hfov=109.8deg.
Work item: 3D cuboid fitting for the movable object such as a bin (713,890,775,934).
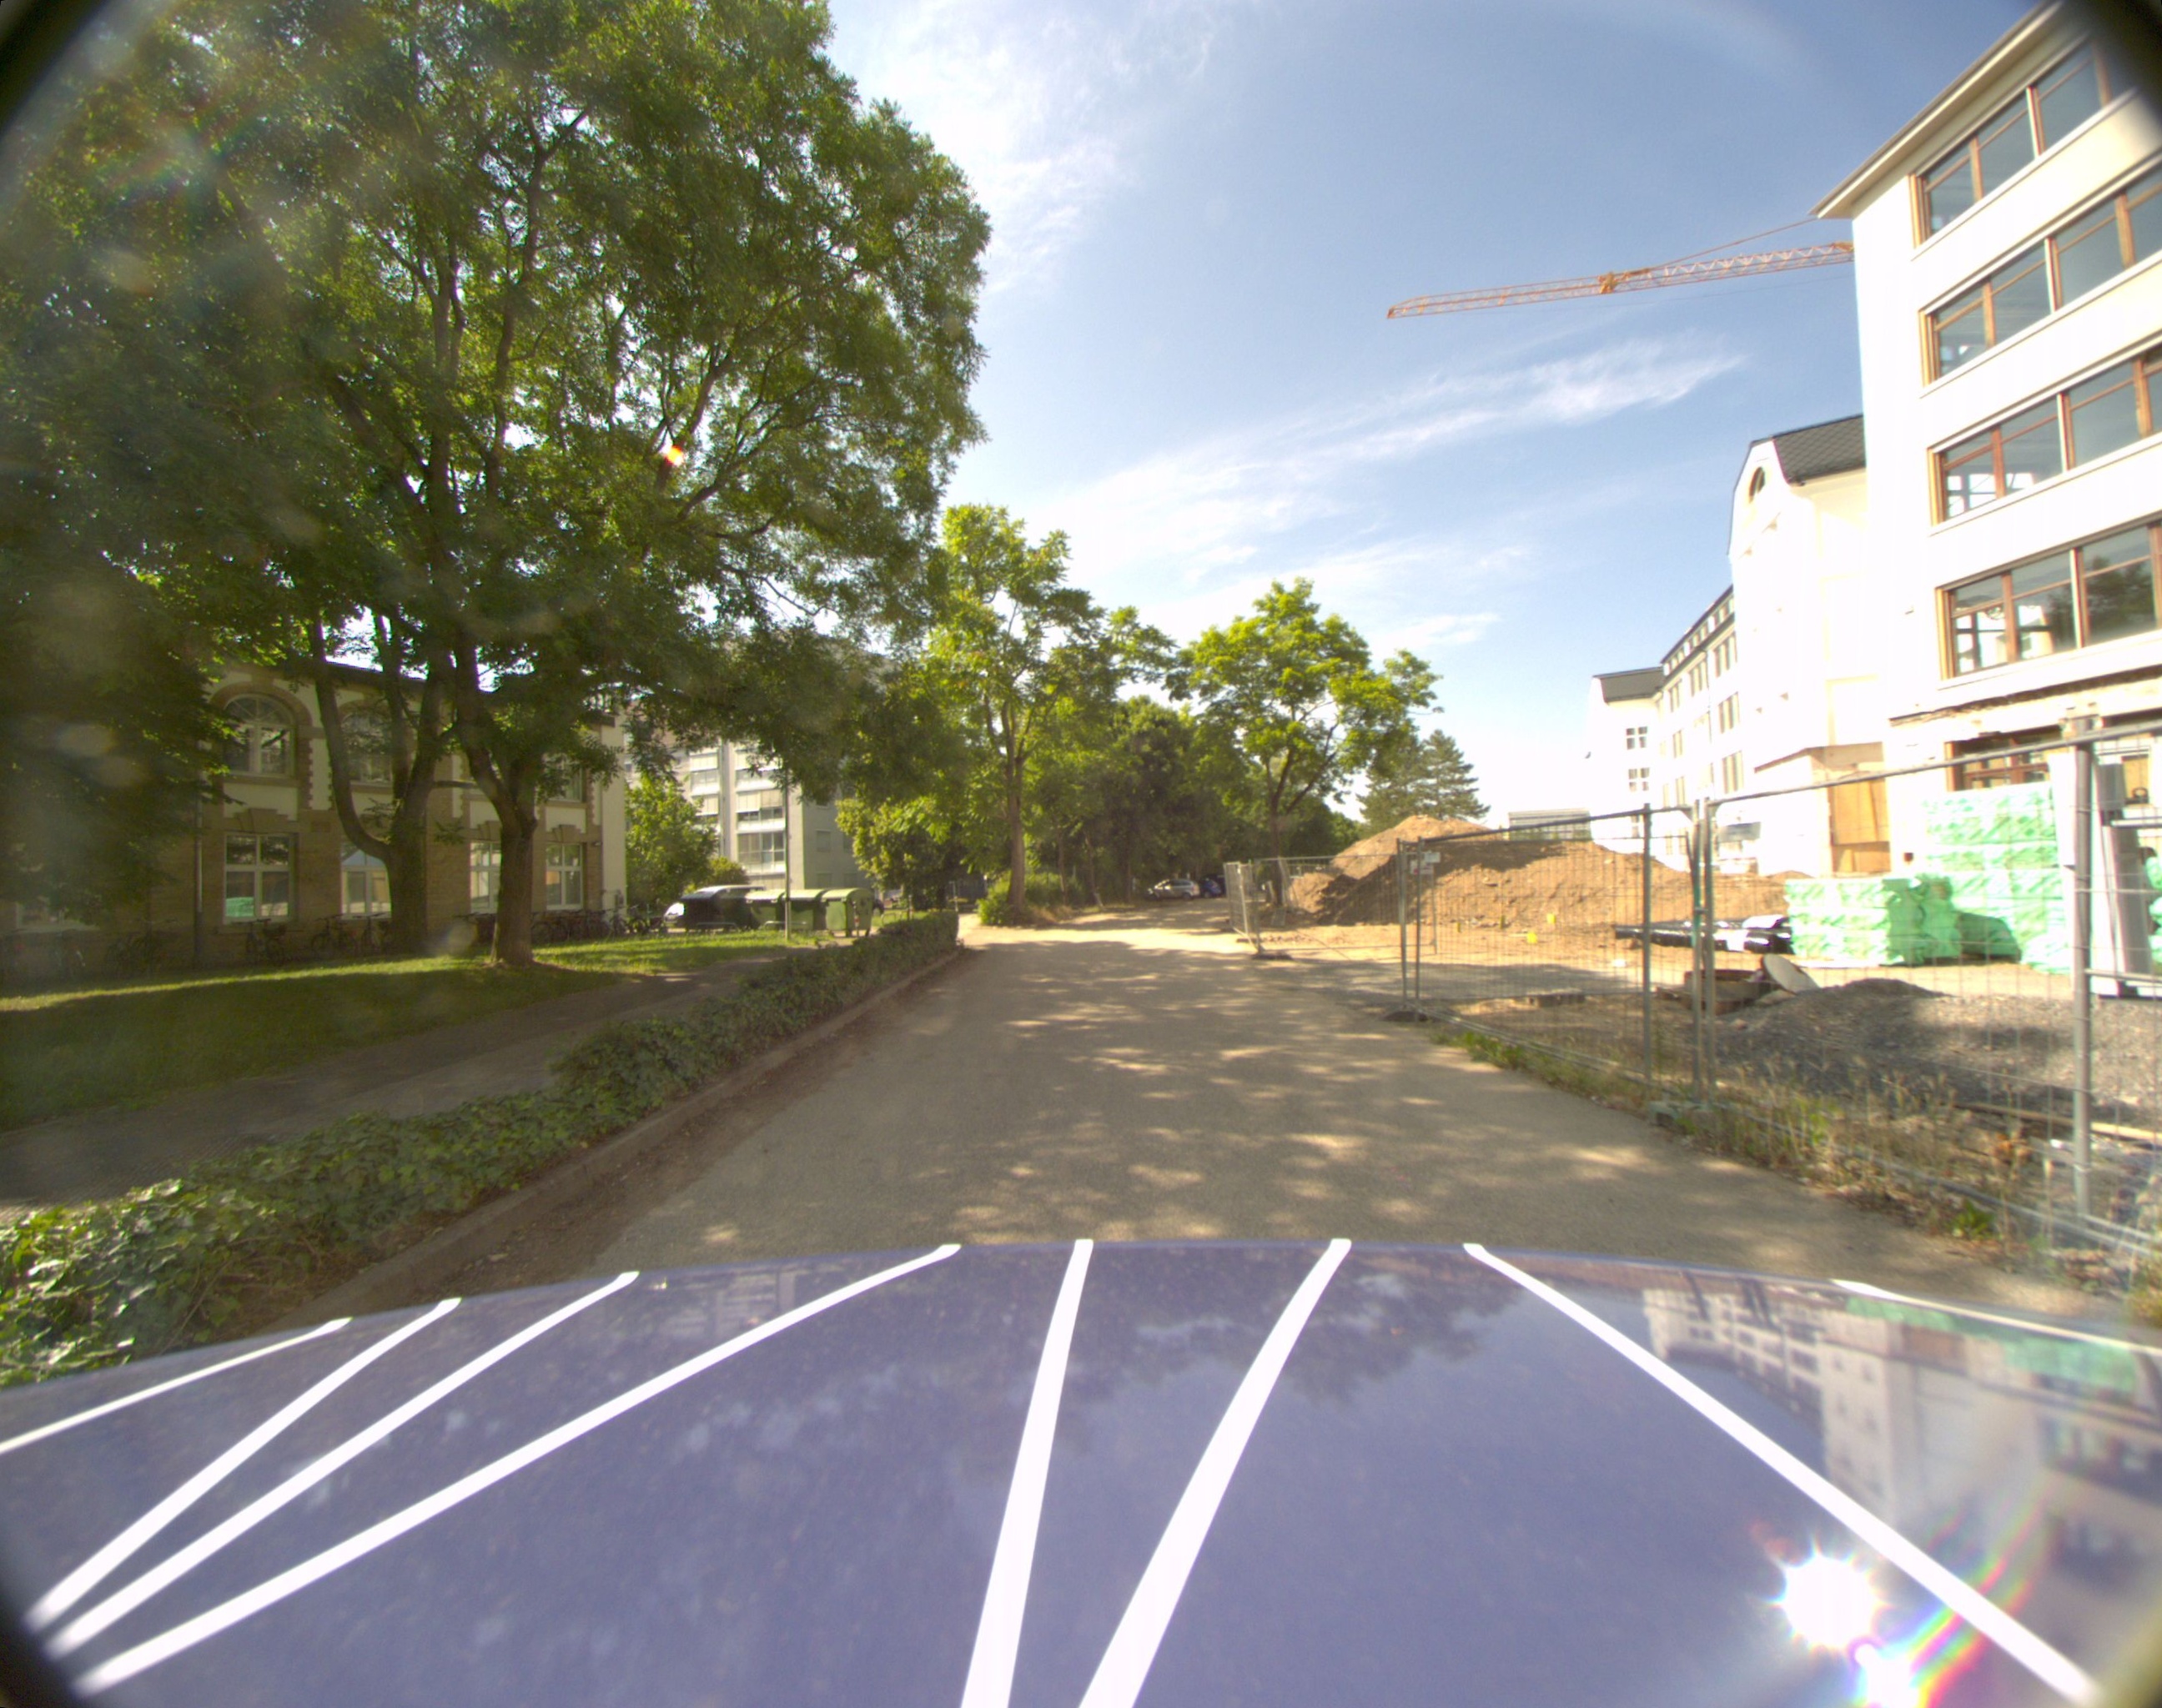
[{"bbox_3d":[-10.898,1.881,24.617,1.349,1.341,1.217,-2,-1,21],"label":"movable object such as a bin"}]

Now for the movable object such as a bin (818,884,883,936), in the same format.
[{"bbox_3d":[-6.858,1.644,22.649,1.389,1.454,1.218,-3,-1,36],"label":"movable object such as a bin"}]

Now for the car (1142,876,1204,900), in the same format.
[{"bbox_3d":[6.513,2.413,53.828,3.991,1.499,2.003,-2,-2,19],"label":"car"}]

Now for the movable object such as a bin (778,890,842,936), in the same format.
[{"bbox_3d":[-8.250,1.795,23.180,1.352,1.292,1.217,-2,-1,21],"label":"movable object such as a bin"}]

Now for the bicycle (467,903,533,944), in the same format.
[{"bbox_3d":[-16.959,2.026,22.181,2.097,1.154,0.589,-3,-1,24],"label":"bicycle"}]

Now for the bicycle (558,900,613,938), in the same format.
[{"bbox_3d":[-15.905,2.082,24.360,1.909,1.154,0.495,-3,-1,24],"label":"bicycle"}]

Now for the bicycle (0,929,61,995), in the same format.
[{"bbox_3d":[-20.509,2.055,14.632,2.097,1.154,0.589,-3,-1,24],"label":"bicycle"}]

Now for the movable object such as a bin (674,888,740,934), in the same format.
[{"bbox_3d":[-12.372,1.878,25.163,1.433,1.401,1.252,-2,-1,20],"label":"movable object such as a bin"}]

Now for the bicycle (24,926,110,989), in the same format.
[{"bbox_3d":[-20.364,2.053,15.252,2.097,1.154,0.589,-3,-1,24],"label":"bicycle"}]

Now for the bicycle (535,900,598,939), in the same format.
[{"bbox_3d":[-16.161,2.068,23.846,2.097,1.154,0.589,-3,-1,24],"label":"bicycle"}]

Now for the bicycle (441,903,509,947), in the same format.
[{"bbox_3d":[-17.187,2.011,21.547,2.097,1.154,0.589,-3,-1,24],"label":"bicycle"}]

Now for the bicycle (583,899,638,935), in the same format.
[{"bbox_3d":[-15.594,2.091,25.168,1.847,1.154,0.614,-3,-1,24],"label":"bicycle"}]

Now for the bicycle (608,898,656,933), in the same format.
[{"bbox_3d":[-15.186,2.083,25.695,1.800,1.154,0.508,-3,-1,29],"label":"bicycle"}]

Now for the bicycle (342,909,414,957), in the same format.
[{"bbox_3d":[-18.199,2.040,19.657,2.097,1.154,0.589,-3,-1,24],"label":"bicycle"}]

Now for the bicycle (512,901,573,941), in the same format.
[{"bbox_3d":[-16.408,2.038,23.134,1.917,1.154,0.589,-3,-1,24],"label":"bicycle"}]

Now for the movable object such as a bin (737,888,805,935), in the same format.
[{"bbox_3d":[-9.658,1.790,23.706,1.499,1.353,1.217,-2,-1,21],"label":"movable object such as a bin"}]

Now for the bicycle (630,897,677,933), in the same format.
[{"bbox_3d":[-14.715,2.086,26.133,1.940,1.154,0.558,-3,-1,34],"label":"bicycle"}]

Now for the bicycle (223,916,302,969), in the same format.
[{"bbox_3d":[-19.087,2.049,17.708,2.097,1.154,0.589,-3,-1,24],"label":"bicycle"}]

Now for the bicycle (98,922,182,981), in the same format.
[{"bbox_3d":[-19.920,2.047,16.076,2.097,1.154,0.589,-3,-1,24],"label":"bicycle"}]

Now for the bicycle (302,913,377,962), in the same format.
[{"bbox_3d":[-18.486,2.069,18.935,2.097,1.154,0.589,-3,-1,24],"label":"bicycle"}]

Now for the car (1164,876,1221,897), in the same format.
[{"bbox_3d":[8.623,2.524,58.774,3.991,1.433,2.003,-2,-2,19],"label":"car"}]
